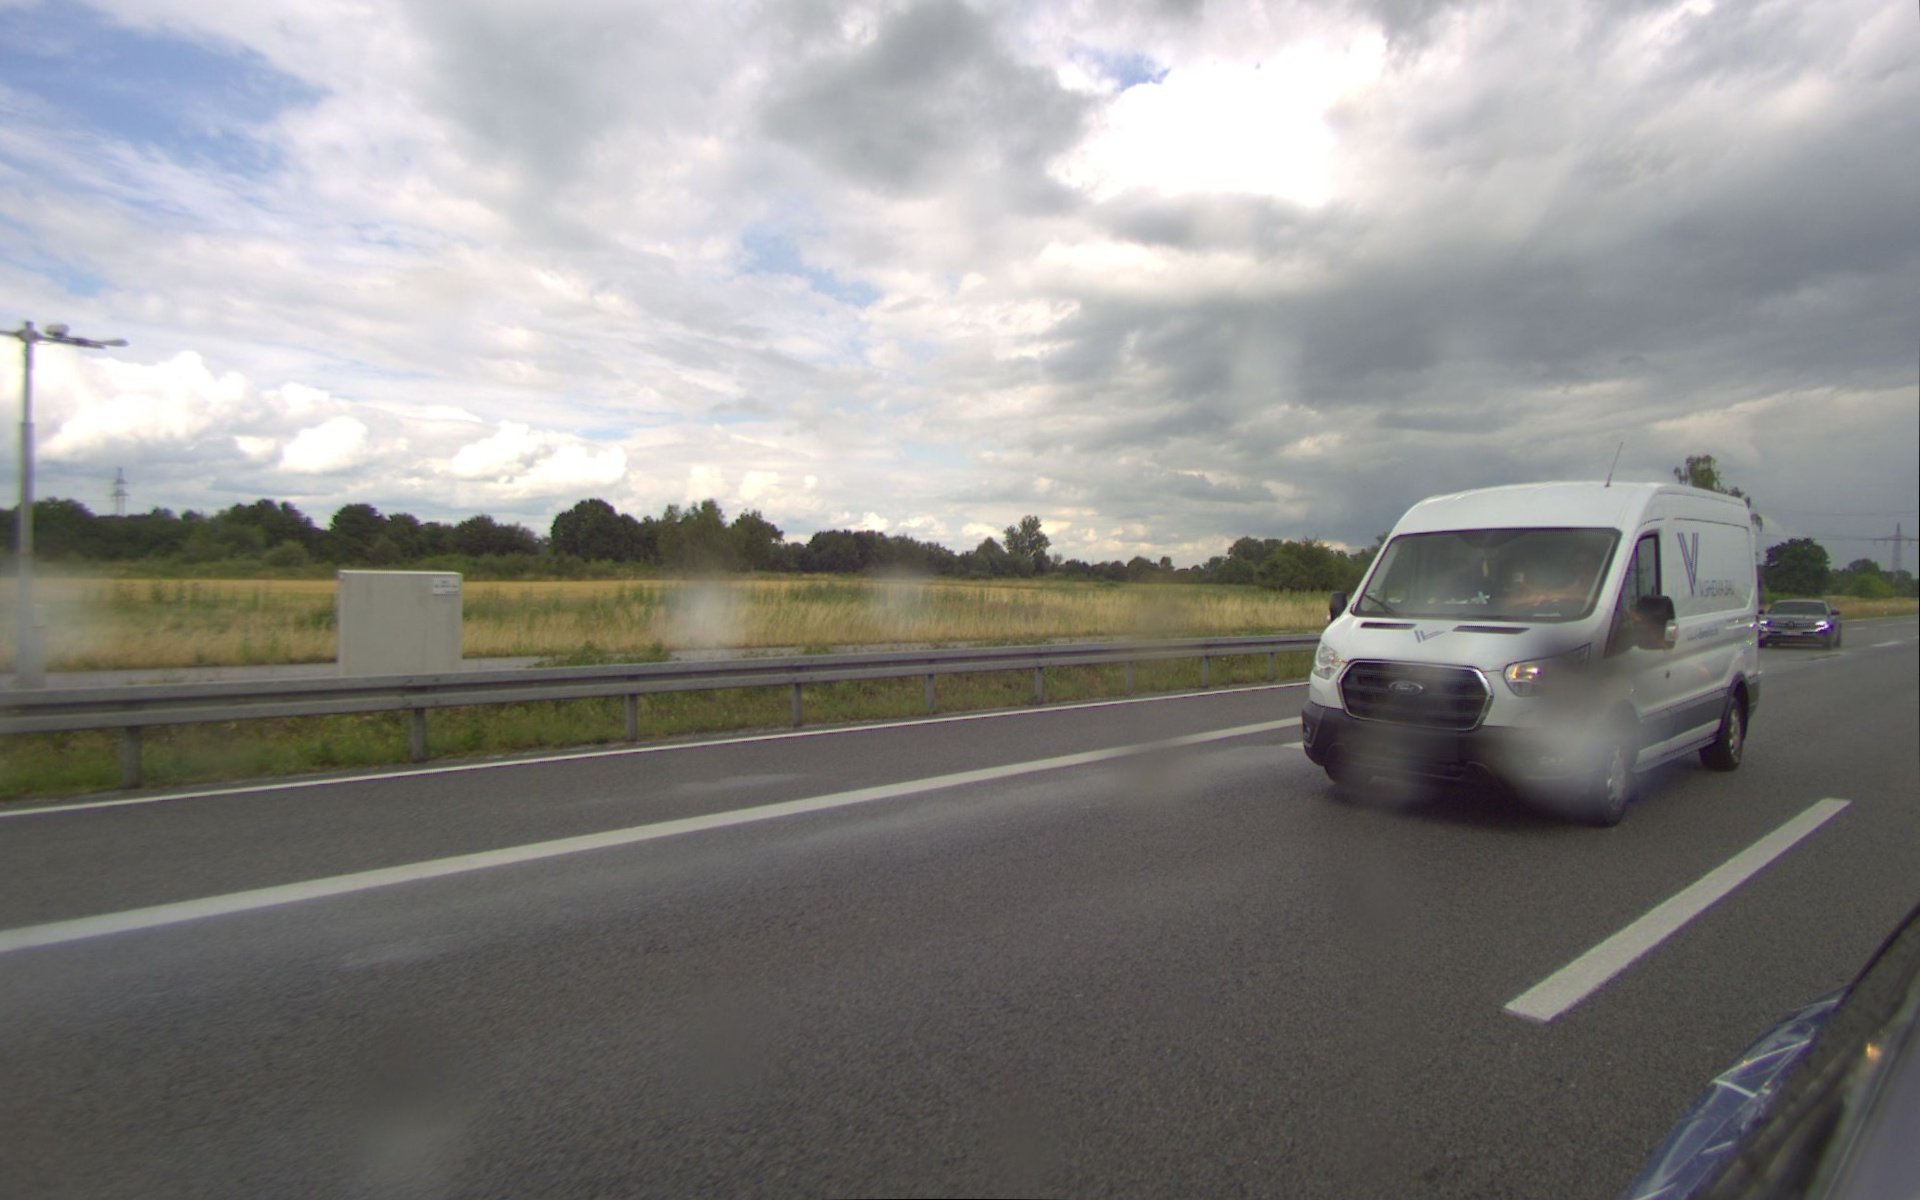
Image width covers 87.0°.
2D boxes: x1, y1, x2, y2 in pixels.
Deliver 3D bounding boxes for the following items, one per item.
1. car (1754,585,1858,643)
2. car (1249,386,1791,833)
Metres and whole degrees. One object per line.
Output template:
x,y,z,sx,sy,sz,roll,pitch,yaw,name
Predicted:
26.678,0.406,31.857,4.553,1.662,1.996,1,1,-44,car
4.835,0.039,8.296,5.352,2.532,2.144,0,1,-41,car
